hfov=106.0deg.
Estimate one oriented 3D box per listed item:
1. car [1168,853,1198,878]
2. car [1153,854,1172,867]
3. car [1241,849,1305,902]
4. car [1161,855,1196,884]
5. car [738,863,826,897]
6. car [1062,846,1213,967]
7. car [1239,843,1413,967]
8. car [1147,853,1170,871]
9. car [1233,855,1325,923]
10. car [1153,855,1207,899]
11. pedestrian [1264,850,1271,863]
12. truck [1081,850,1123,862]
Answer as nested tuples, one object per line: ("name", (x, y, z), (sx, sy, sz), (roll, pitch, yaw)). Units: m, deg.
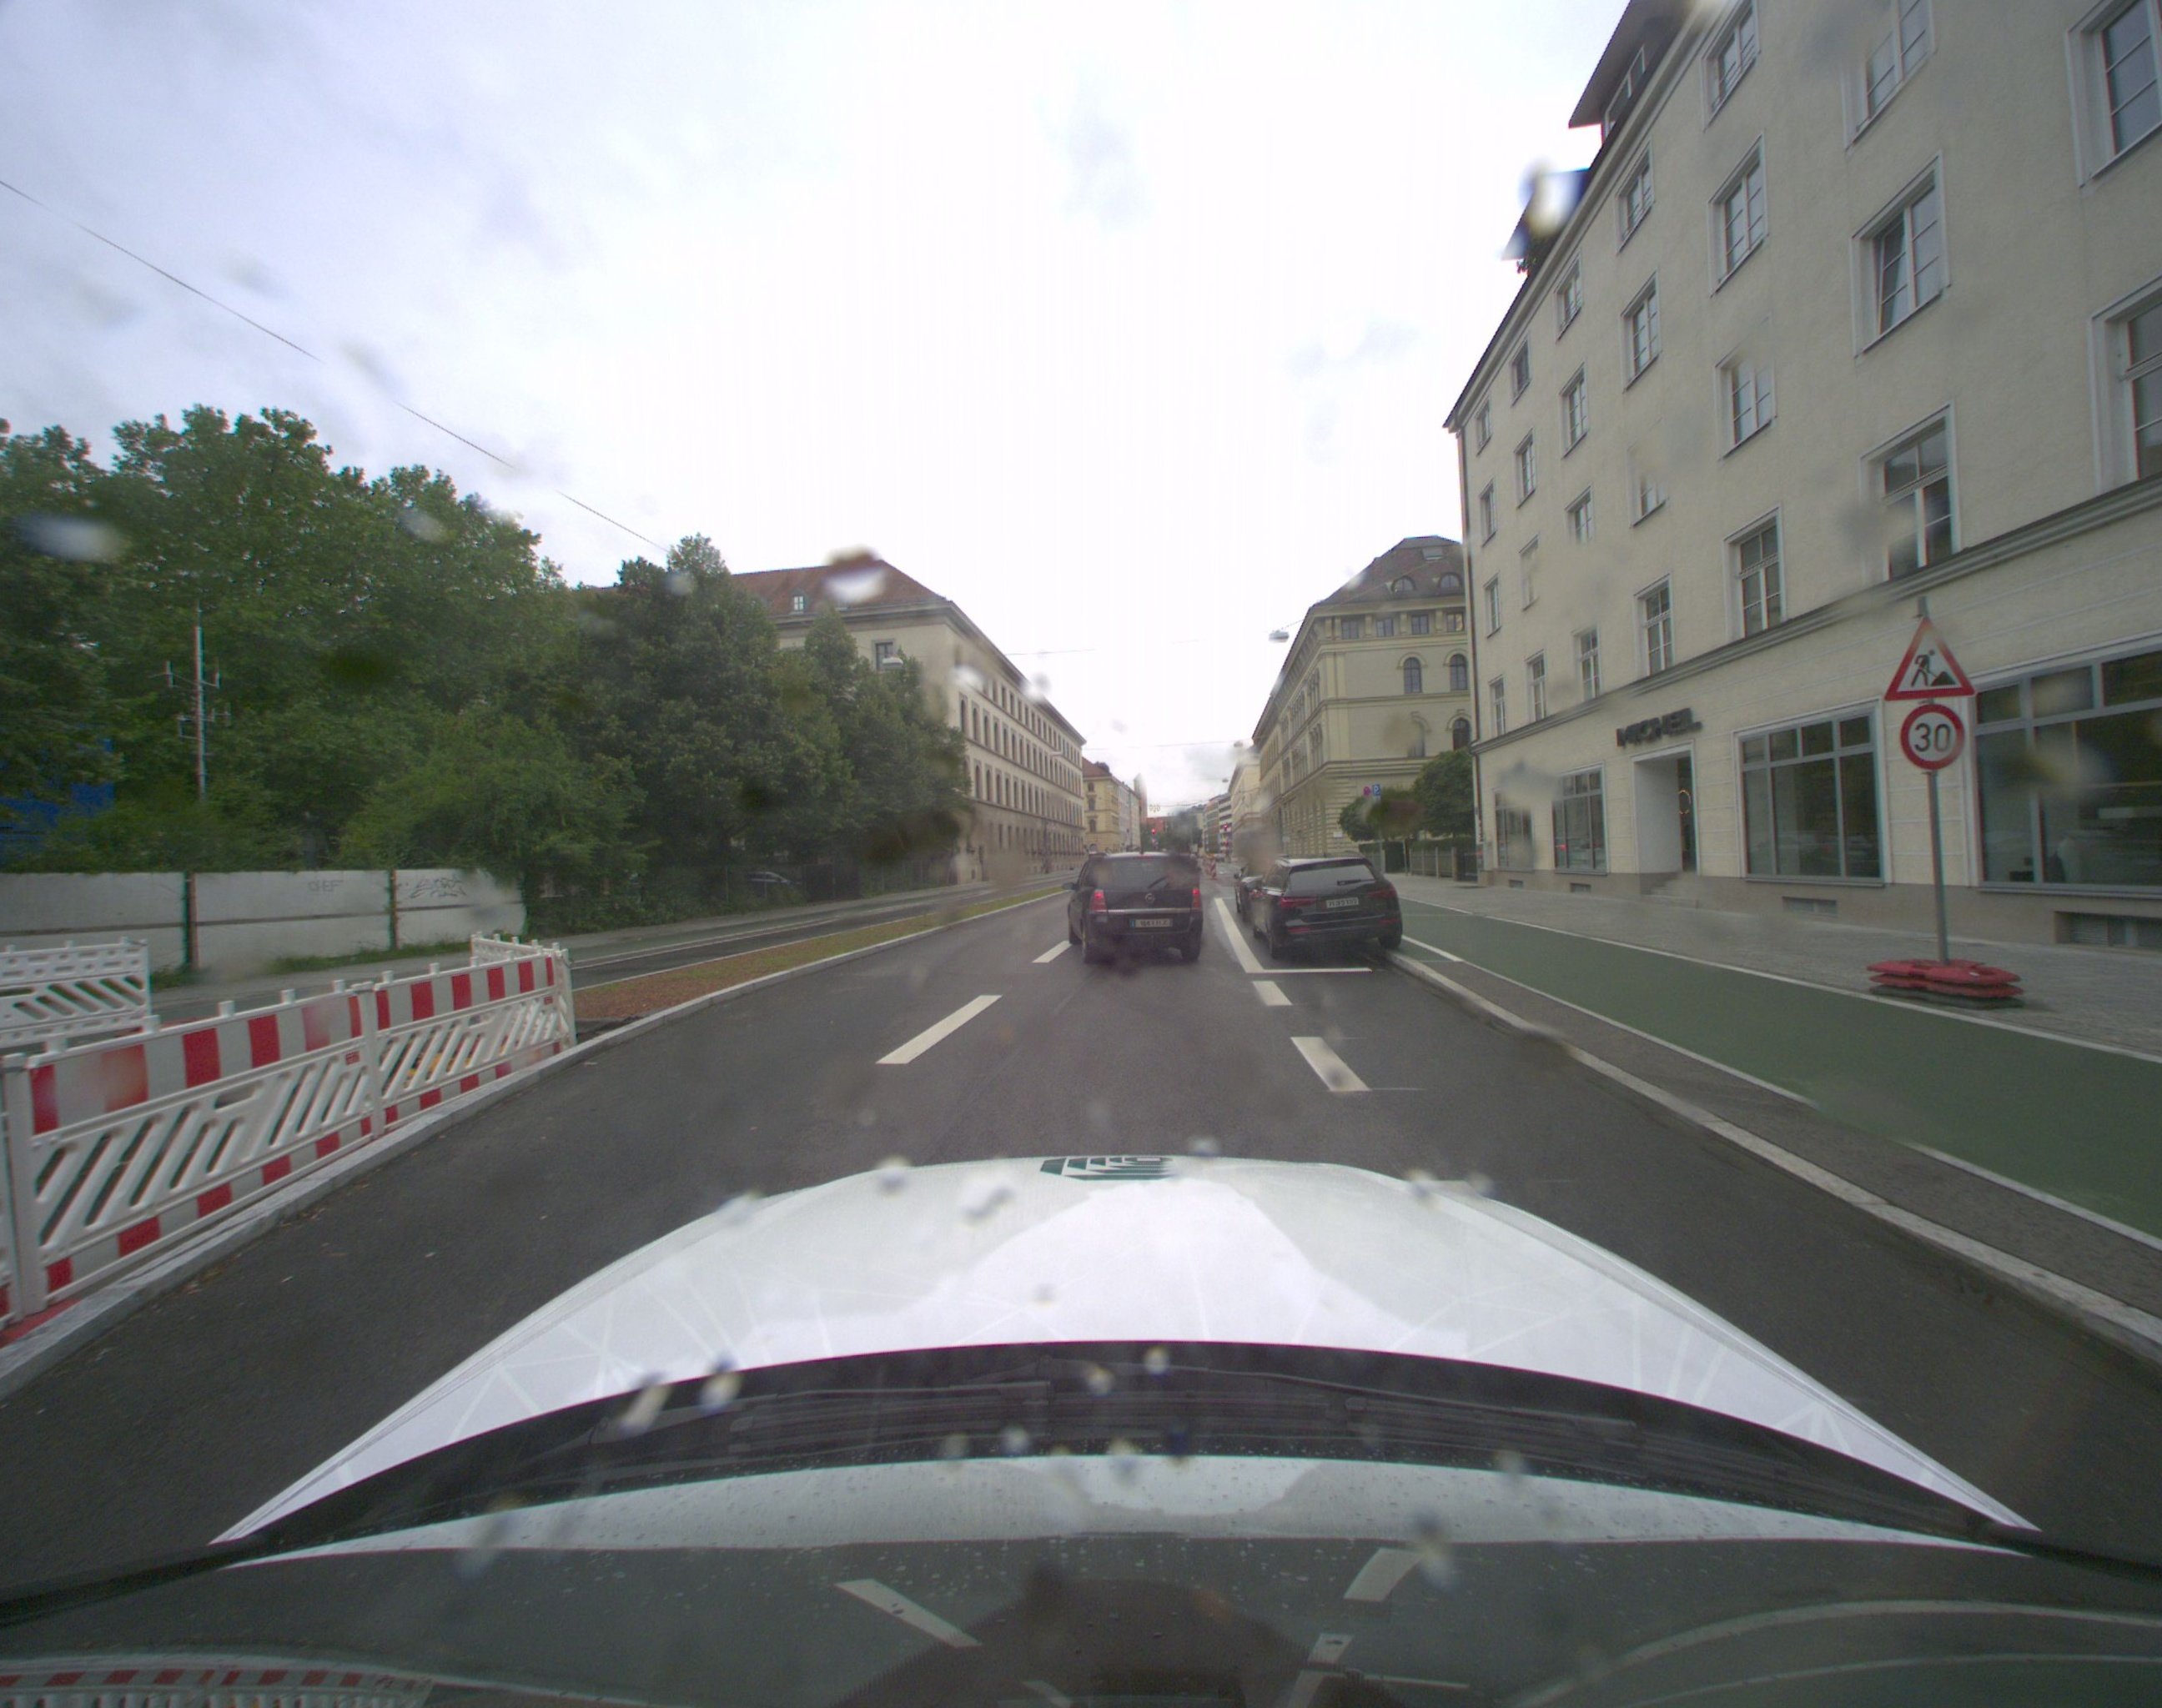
("car", (6.218, 0.662, 49.258), (1.720, 1.461, 4.009), (-1, 0, 8))
("car", (9.972, 0.822, 99.187), (1.982, 1.444, 4.010), (-2, 0, 9))
("car", (5.963, 0.627, 25.631), (1.665, 1.521, 3.839), (-1, 0, 9))
("car", (5.172, 0.766, 42.975), (1.720, 1.403, 4.009), (-1, 0, 8))
("car", (-16.825, 1.446, 45.897), (4.238, 1.649, 1.809), (-3, 0, 8))
("car", (0.746, 0.717, 13.224), (1.762, 1.616, 4.021), (-1, 0, -6))
("car", (3.709, 0.689, 13.152), (1.799, 1.480, 4.470), (-6, -1, 7))
("car", (7.755, 0.773, 81.441), (1.982, 1.627, 4.010), (-2, 0, 9))
("car", (4.683, 0.752, 19.831), (1.815, 1.407, 4.732), (-1, 0, 9))
("car", (3.518, 0.766, 28.590), (1.720, 1.403, 4.009), (-1, 0, 8))
("pedestrian", (23.257, 0.292, 101.365), (0.706, 1.618, 0.756), (-2, -1, 8))
("truck", (3.873, 0.372, 149.046), (7.340, 2.252, 2.186), (-1, -1, 10))
